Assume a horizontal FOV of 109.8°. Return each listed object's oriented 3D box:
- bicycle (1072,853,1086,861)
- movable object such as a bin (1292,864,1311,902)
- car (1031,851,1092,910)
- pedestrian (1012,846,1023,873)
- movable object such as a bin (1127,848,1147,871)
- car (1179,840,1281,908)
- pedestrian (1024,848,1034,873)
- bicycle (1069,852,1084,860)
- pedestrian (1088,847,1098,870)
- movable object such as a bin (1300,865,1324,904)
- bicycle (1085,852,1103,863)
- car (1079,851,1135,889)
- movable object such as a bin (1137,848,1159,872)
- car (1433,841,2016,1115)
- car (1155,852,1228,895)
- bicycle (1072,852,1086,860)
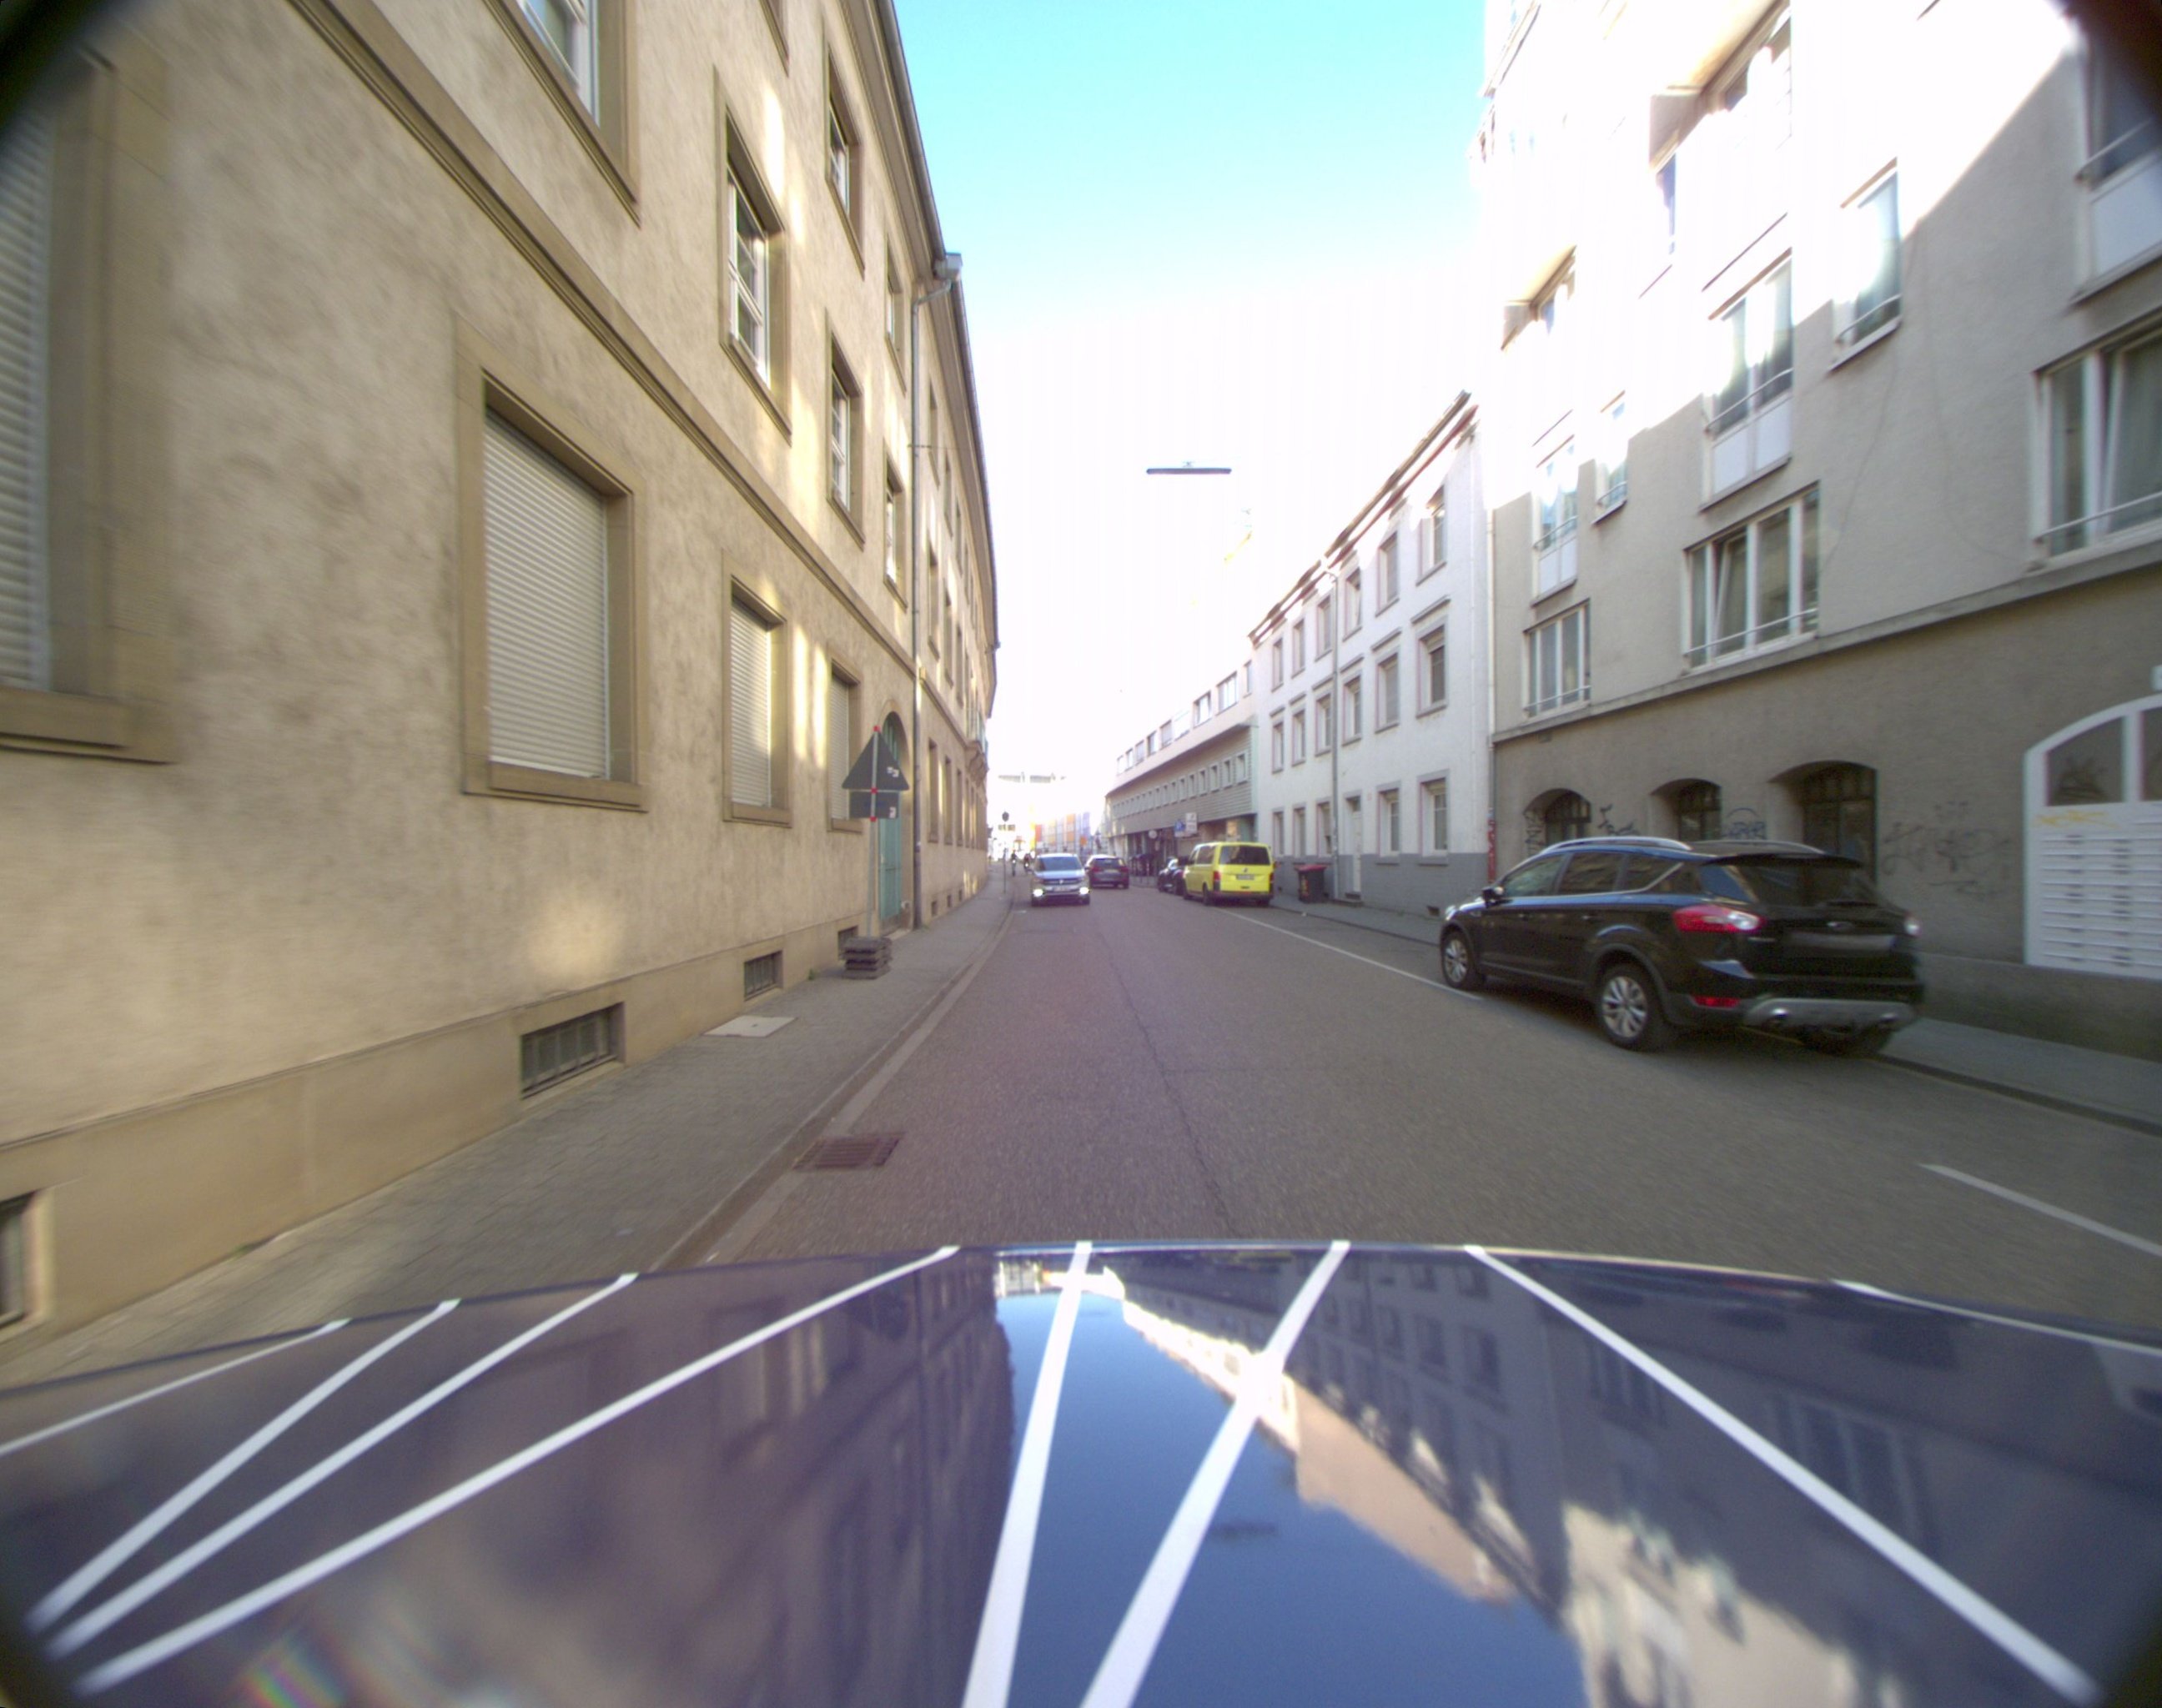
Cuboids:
[{"bbox_3d":[-0.245,0.352,99.434,1.658,0.941,0.388,-4,1,-8],"label":"bicycle"},{"bbox_3d":[6.456,0.850,22.255,0.411,1.098,0.433,0,1,-2],"label":"movable object such as a bin"},{"bbox_3d":[-0.683,0.768,24.223,1.683,1.568,4.241,-4,1,-3],"label":"car"},{"bbox_3d":[-4.529,0.391,54.232,0.678,1.928,0.857,-1,1,-8],"label":"pedestrian"},{"bbox_3d":[3.636,0.388,49.597,0.971,1.463,1.474,-1,-1,-7],"label":"movable object such as a bin"},{"bbox_3d":[4.513,0.546,23.836,1.885,1.856,4.862,2,0,-4],"label":"car"},{"bbox_3d":[-3.755,0.454,55.043,0.603,1.770,0.651,-1,1,-8],"label":"pedestrian"},{"bbox_3d":[-0.548,0.276,97.427,1.804,0.941,0.388,-4,1,-8],"label":"bicycle"},{"bbox_3d":[0.860,0.325,55.728,0.494,1.660,0.627,-3,1,-20],"label":"pedestrian"},{"bbox_3d":[6.580,0.854,21.657,0.542,1.098,0.433,0,1,-2],"label":"movable object such as a bin"},{"bbox_3d":[1.448,0.369,83.671,1.821,1.094,0.749,-4,1,-8],"label":"bicycle"},{"bbox_3d":[1.068,0.648,33.606,1.720,1.569,4.187,-1,1,-8],"label":"car"},{"bbox_3d":[4.218,0.385,47.787,1.126,1.511,1.341,-1,0,-7],"label":"movable object such as a bin"},{"bbox_3d":[5.085,0.786,6.962,1.744,1.701,4.190,2,0,0],"label":"car"},{"bbox_3d":[4.165,0.715,29.400,1.824,1.477,4.074,2,0,-6],"label":"car"},{"bbox_3d":[-0.275,0.278,98.163,1.804,0.941,0.388,-4,1,-8],"label":"bicycle"}]
